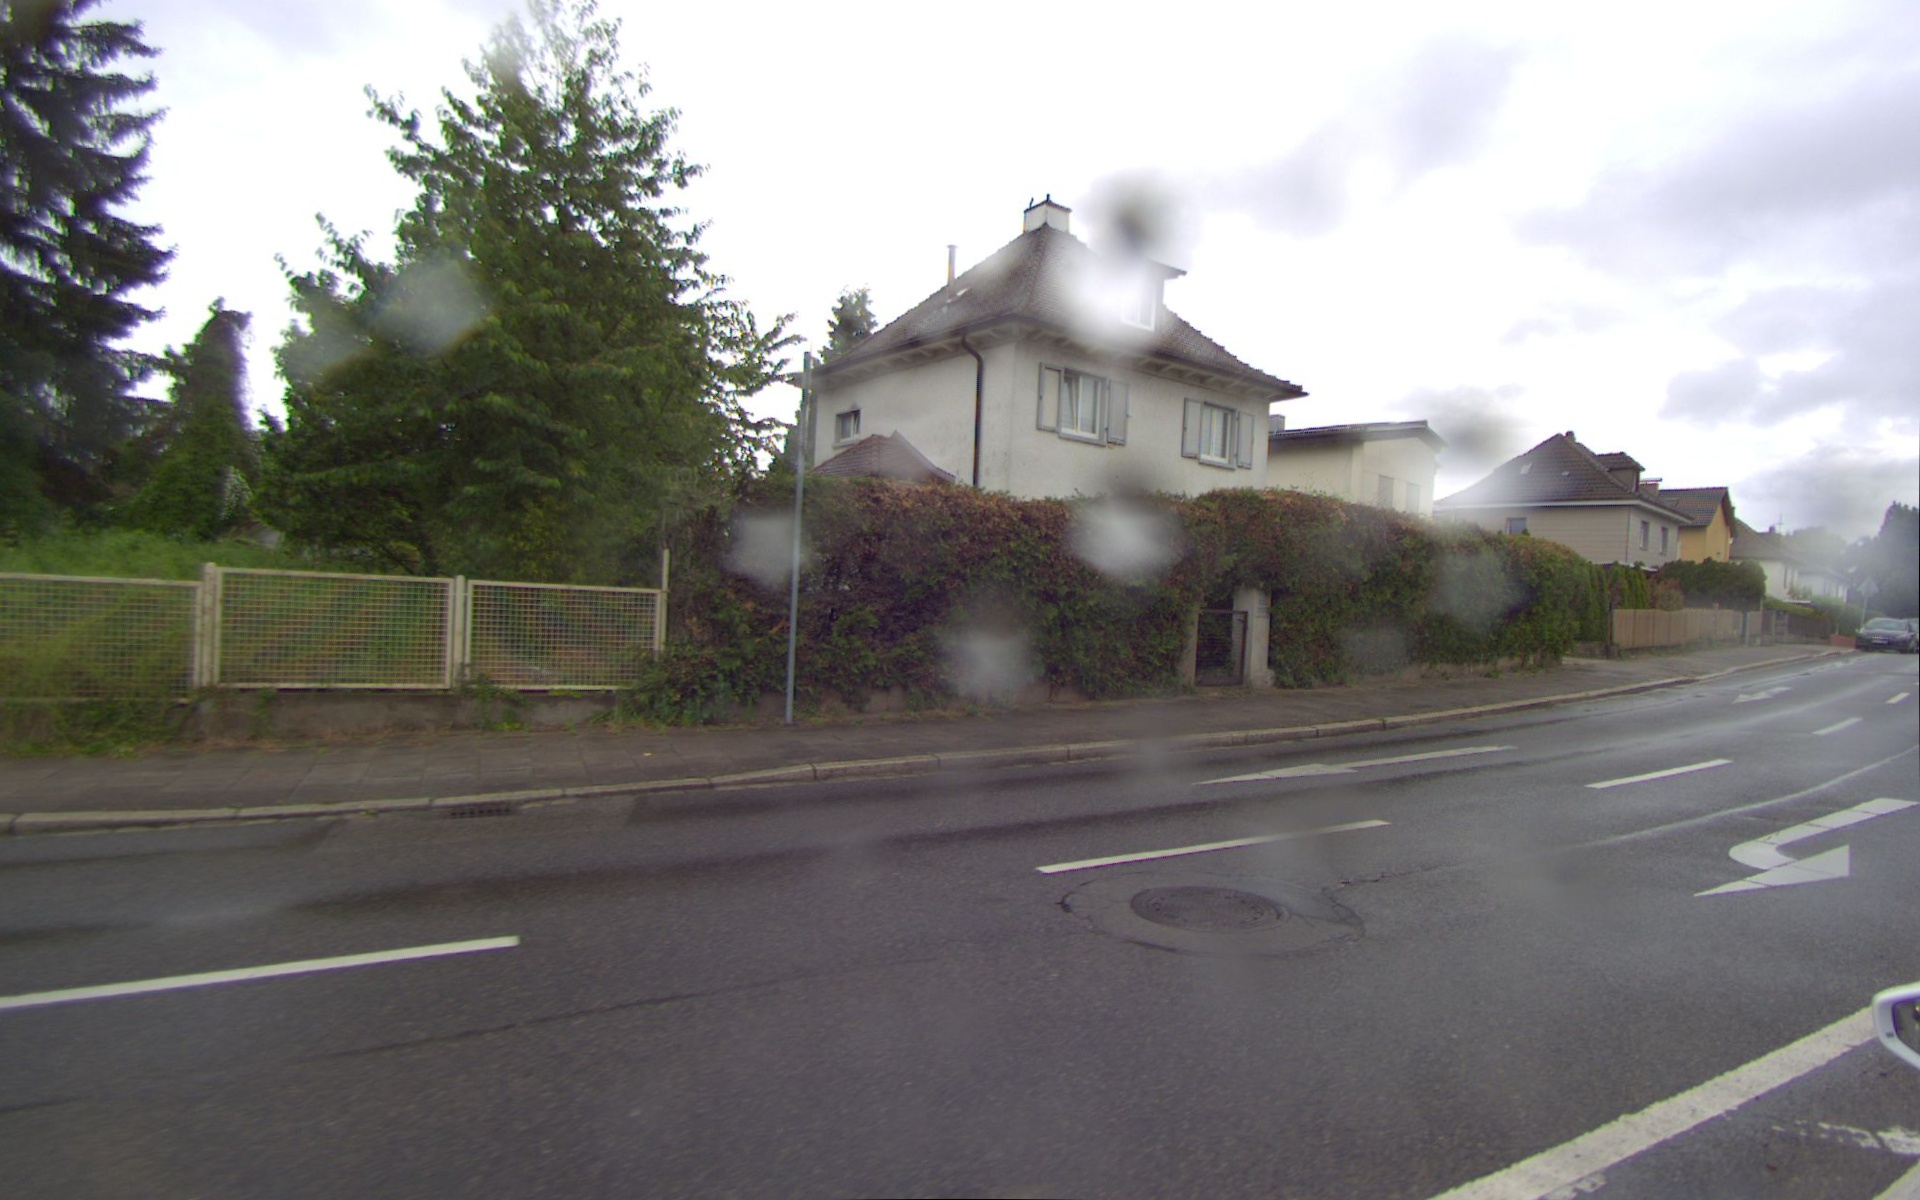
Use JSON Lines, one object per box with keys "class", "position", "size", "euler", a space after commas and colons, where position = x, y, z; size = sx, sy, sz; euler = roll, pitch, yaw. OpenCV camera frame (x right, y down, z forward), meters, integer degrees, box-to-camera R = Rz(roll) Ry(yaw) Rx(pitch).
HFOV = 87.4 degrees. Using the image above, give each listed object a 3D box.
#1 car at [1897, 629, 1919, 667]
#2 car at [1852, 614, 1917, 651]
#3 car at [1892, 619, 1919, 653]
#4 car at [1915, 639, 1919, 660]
{"class": "car", "position": [53.632, 2.728, 55.938], "size": [1.893, 2.029, 5.056], "euler": [4, 0, 45]}
{"class": "car", "position": [41.256, 1.465, 44.788], "size": [4.100, 1.458, 1.734], "euler": [4, 0, -42]}
{"class": "car", "position": [46.702, 1.812, 48.909], "size": [1.732, 1.537, 4.500], "euler": [4, 0, 45]}
{"class": "car", "position": [68.769, 3.556, 71.125], "size": [1.535, 1.450, 3.990], "euler": [4, 0, 45]}
